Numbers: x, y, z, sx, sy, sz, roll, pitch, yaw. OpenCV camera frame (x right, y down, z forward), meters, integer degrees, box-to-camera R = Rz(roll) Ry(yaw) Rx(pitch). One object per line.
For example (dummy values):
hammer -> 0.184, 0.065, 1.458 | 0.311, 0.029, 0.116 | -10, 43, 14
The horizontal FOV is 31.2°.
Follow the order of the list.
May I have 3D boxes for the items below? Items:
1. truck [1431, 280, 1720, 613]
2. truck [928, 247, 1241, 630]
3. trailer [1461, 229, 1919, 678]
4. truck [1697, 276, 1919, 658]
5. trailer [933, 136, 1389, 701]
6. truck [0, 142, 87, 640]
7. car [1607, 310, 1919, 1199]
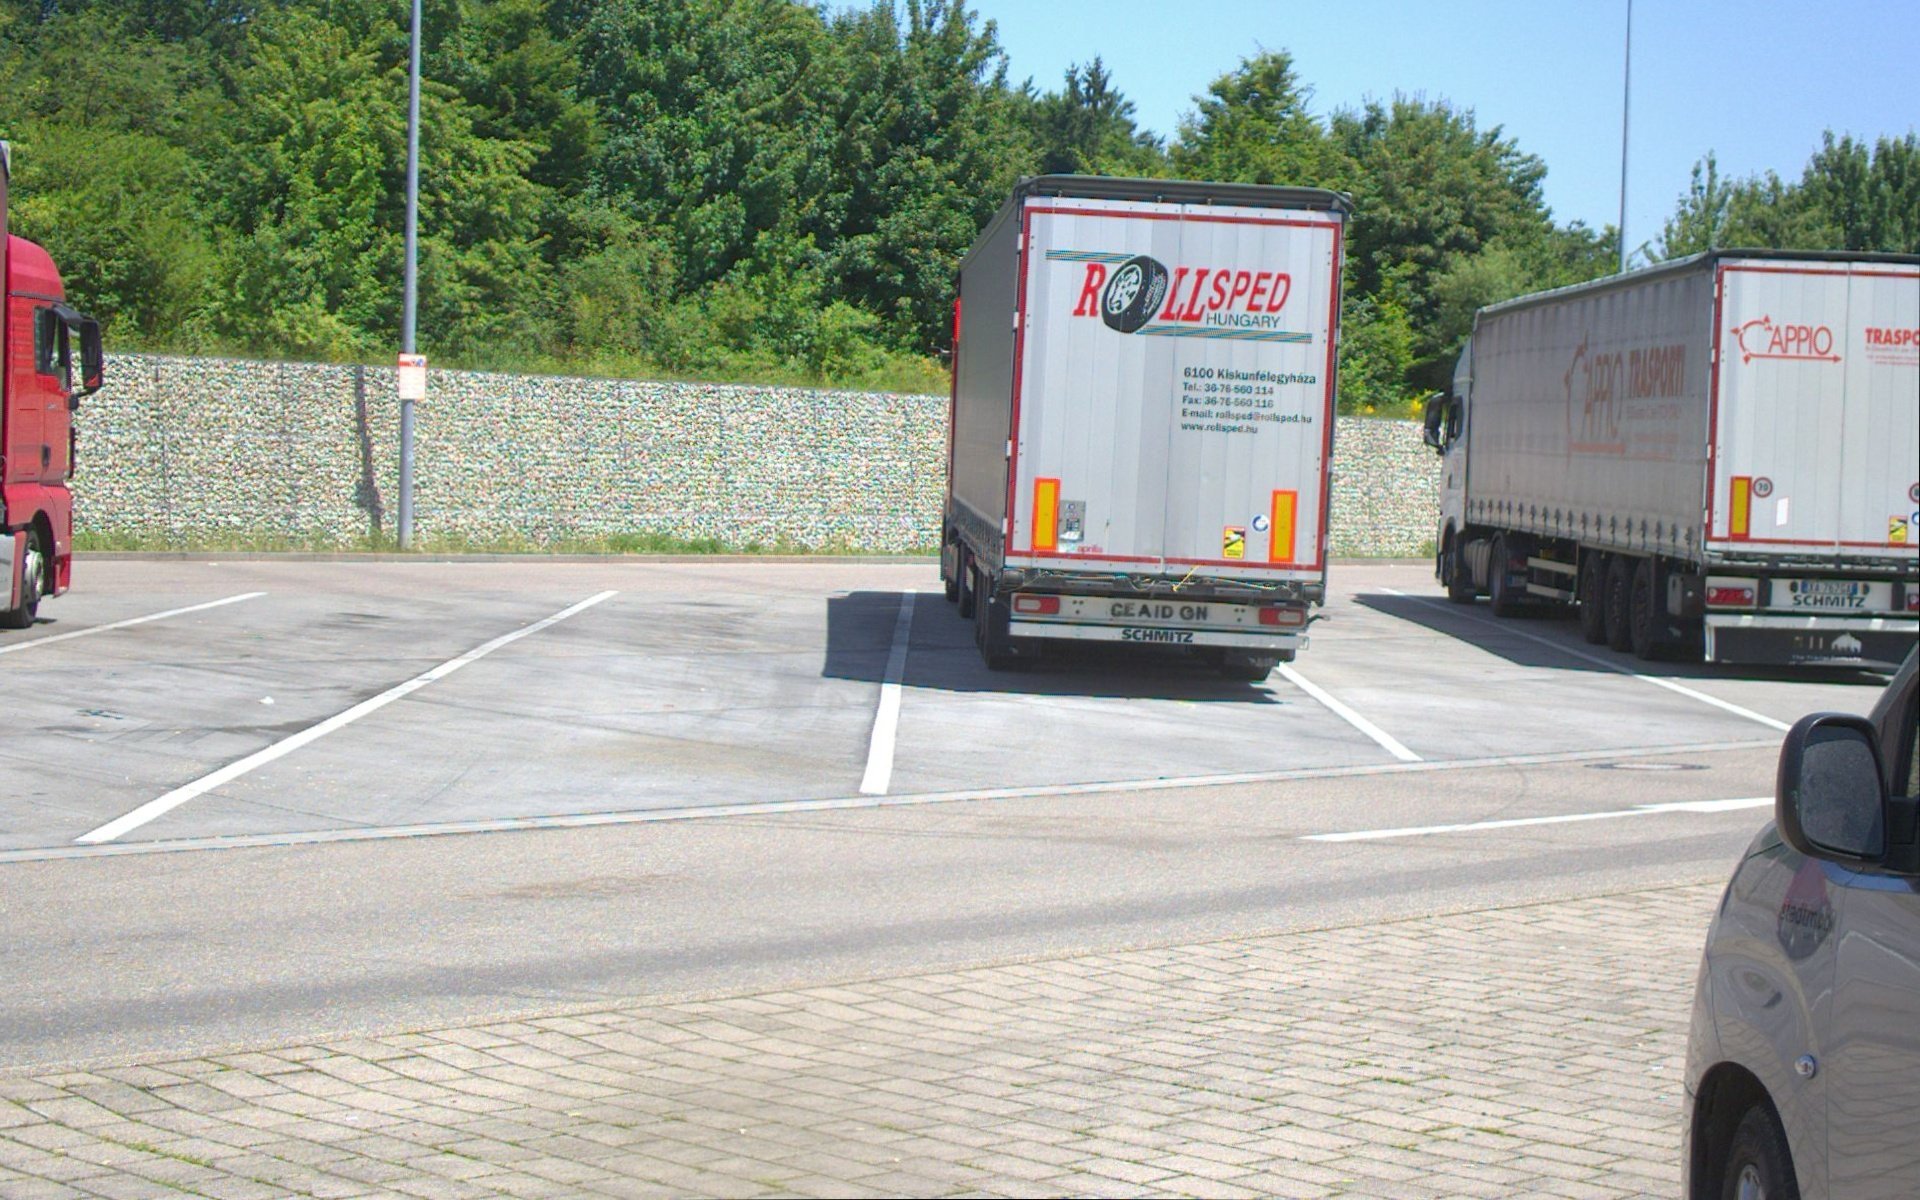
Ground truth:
truck -> 8.030, -1.997, 45.490 | 2.757, 4.110, 5.285 | 1, 2, -1
truck -> 1.266, -1.861, 39.426 | 3.026, 3.915, 6.847 | 2, 3, -2
trailer -> 8.144, -1.580, 38.494 | 2.876, 4.110, 13.572 | 1, 2, -1
truck -> 11.733, -1.482, 39.827 | 2.904, 4.110, 14.528 | 3, 2, -1
trailer -> 1.482, -1.702, 32.658 | 3.069, 4.213, 12.810 | 2, 3, -2
truck -> -9.227, -1.704, 27.675 | 2.743, 4.067, 6.830 | 1, 2, -1
car -> 2.142, 0.539, 3.815 | 1.825, 1.747, 4.001 | 1, 2, -4
